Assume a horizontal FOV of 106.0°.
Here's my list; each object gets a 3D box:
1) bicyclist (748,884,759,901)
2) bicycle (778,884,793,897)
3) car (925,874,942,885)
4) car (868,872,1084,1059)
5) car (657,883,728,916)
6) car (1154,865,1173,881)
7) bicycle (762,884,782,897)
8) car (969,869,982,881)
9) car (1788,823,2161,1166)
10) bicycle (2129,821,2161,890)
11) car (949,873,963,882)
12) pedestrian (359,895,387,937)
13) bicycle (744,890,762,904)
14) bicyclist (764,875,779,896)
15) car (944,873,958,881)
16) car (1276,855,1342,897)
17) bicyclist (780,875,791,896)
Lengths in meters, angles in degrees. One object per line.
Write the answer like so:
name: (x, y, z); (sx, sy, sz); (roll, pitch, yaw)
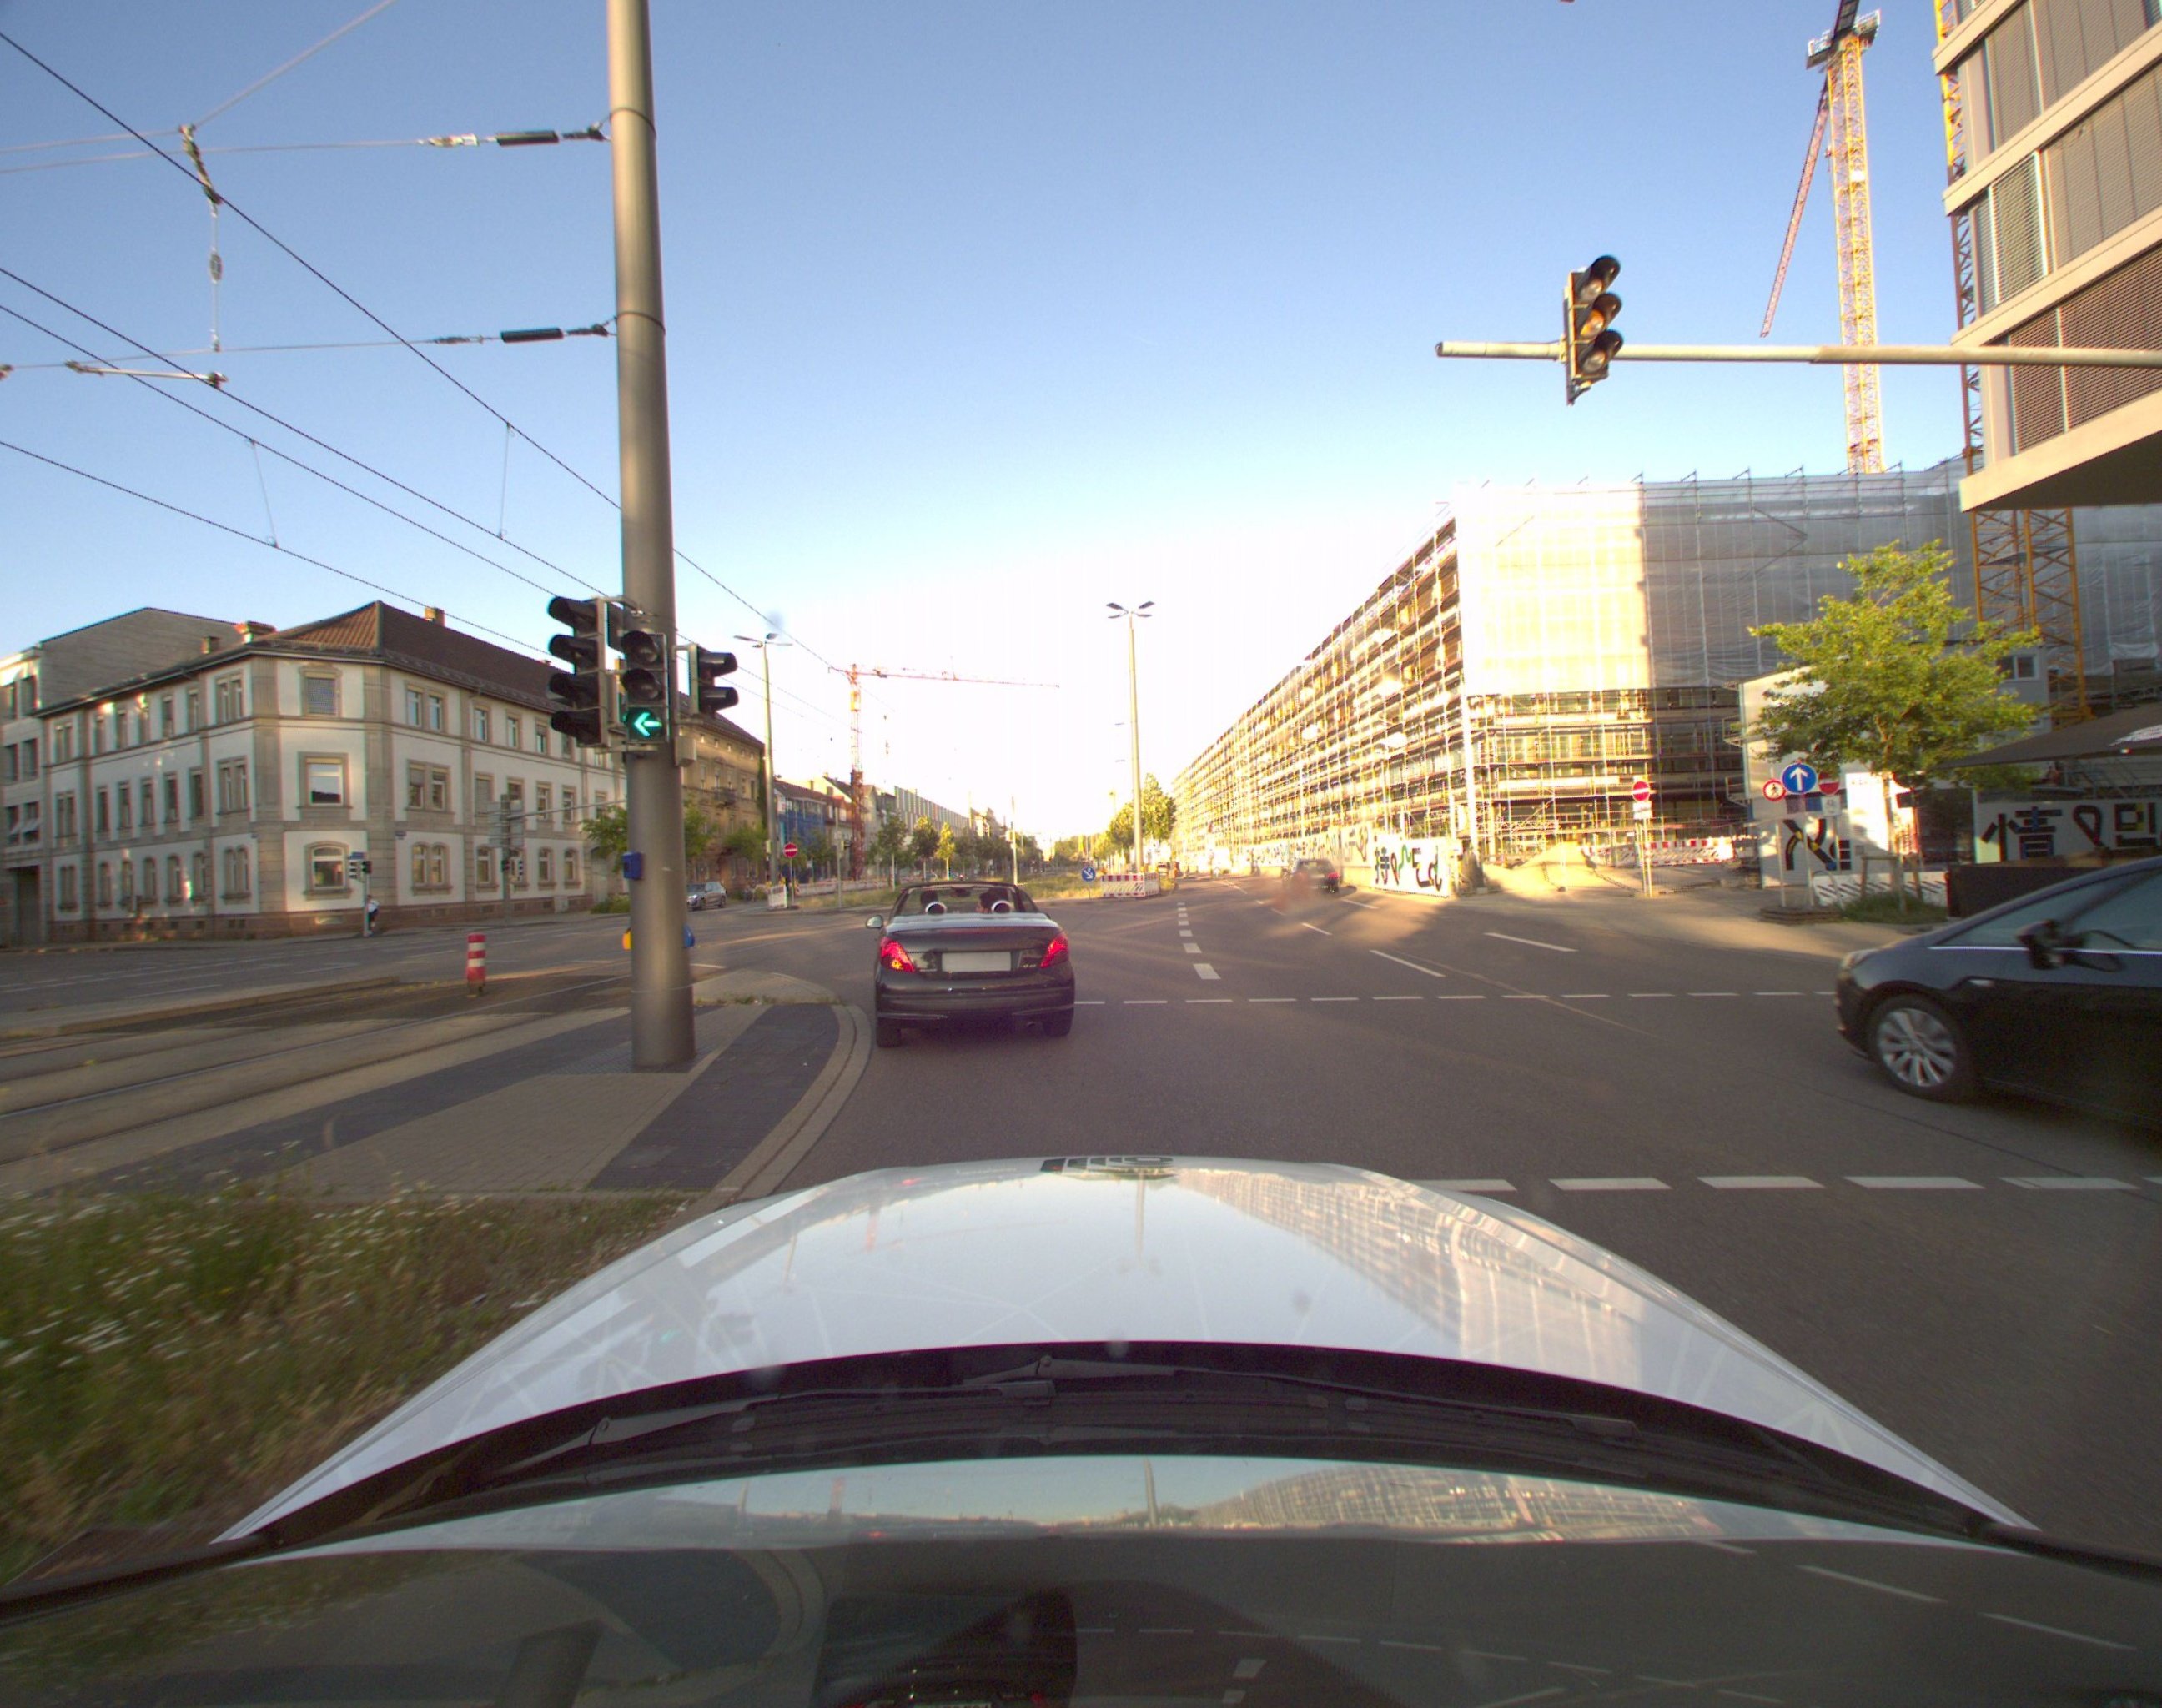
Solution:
bicyclist: (-24.408, 2.869, 60.622); (0.586, 1.266, 0.461); (-1, -1, 7)
bicycle: (-22.791, 2.822, 62.848); (0.588, 0.975, 1.556); (-1, -1, 1)
car: (-20.767, 3.569, 114.910); (1.652, 1.431, 3.895); (-1, -1, 1)
car: (-1.208, 0.902, 8.373); (1.675, 1.352, 3.983); (-1, -1, -12)
car: (-22.180, 2.555, 46.708); (1.987, 1.580, 4.124); (-4, -1, 0)
car: (8.976, 2.069, 88.581); (1.826, 1.672, 4.286); (-2, -1, 3)
bicycle: (-23.966, 2.823, 63.161); (0.767, 0.945, 1.644); (-1, -1, 9)
car: (-18.464, 3.662, 142.826); (1.652, 1.964, 4.267); (-1, -1, 1)
car: (5.937, 0.639, 3.629); (1.816, 1.598, 4.367); (-1, -1, 1)
bicycle: (19.279, 0.018, 13.794); (0.540, 1.210, 1.956); (-1, -1, 1)
car: (-20.697, 3.849, 135.110); (1.652, 1.431, 3.895); (-1, -1, 1)
pedestrian: (-30.151, 2.625, 34.686); (0.816, 1.716, 0.696); (0, -1, -37)
bicycle: (-24.407, 3.171, 60.616); (0.586, 0.989, 1.559); (-1, -1, 7)
bicyclist: (-23.981, 2.424, 63.076); (0.767, 1.571, 0.795); (-1, -1, 9)
car: (-22.731, 3.997, 142.281); (1.652, 1.431, 3.895); (-1, -1, 1)
car: (9.012, 0.834, 32.554); (1.811, 1.519, 4.800); (-1, -1, 7)
bicyclist: (-22.792, 2.453, 62.853); (0.588, 1.569, 0.711); (-1, -1, 1)
